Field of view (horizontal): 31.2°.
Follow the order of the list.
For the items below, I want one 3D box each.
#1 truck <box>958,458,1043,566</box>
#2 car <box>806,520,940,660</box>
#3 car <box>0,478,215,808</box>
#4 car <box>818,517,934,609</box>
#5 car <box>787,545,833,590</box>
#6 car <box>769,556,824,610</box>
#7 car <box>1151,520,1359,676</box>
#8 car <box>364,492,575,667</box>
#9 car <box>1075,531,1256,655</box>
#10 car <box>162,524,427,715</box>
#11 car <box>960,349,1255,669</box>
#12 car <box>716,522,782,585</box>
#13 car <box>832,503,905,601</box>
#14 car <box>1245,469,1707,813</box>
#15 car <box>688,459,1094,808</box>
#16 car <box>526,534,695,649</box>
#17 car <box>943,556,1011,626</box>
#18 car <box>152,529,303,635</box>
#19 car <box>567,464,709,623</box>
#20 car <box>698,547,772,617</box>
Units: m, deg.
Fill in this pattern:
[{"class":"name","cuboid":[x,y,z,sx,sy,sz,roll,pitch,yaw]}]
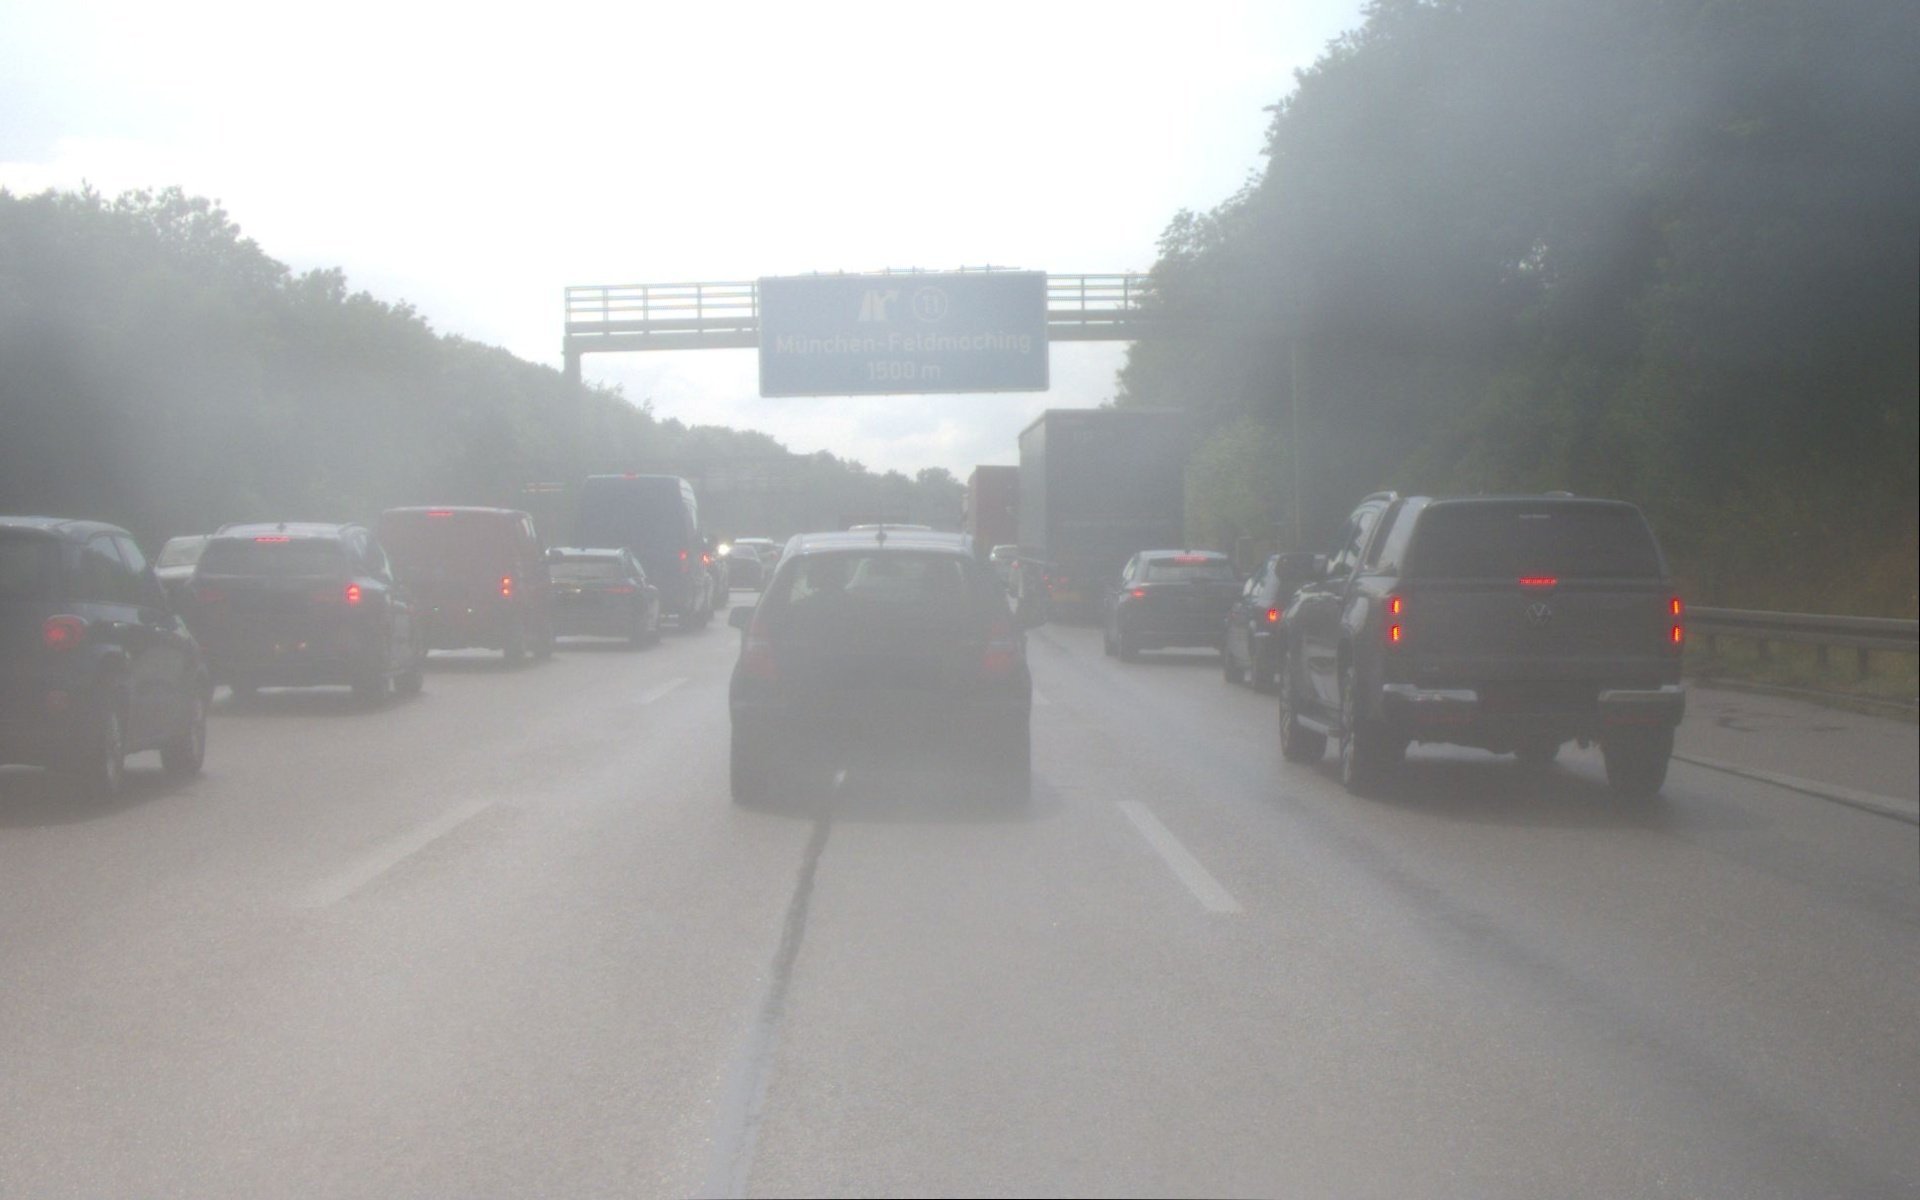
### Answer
[{"class":"truck","cuboid":[1.359,-2.998,119.280,2.775,3.619,5.917,1,1,-1]},{"class":"car","cuboid":[-1.215,-0.144,46.543,1.692,1.798,3.976,1,1,-3]},{"class":"car","cuboid":[-5.580,0.211,20.724,1.692,1.798,3.977,1,1,-6]},{"class":"car","cuboid":[-1.479,-0.640,59.185,1.864,1.511,3.976,1,1,-3]},{"class":"car","cuboid":[-7.165,-1.550,164.799,1.993,2.108,4.889,1,1,-1]},{"class":"car","cuboid":[-6.606,-0.700,139.357,1.993,2.108,4.889,1,1,-1]},{"class":"car","cuboid":[2.984,-0.038,35.485,1.590,1.511,3.976,1,1,-3]},{"class":"car","cuboid":[-6.054,-0.268,42.949,1.978,2.047,4.756,1,1,-1]},{"class":"car","cuboid":[2.604,-0.108,44.386,1.864,1.511,3.976,1,1,-3]},{"class":"car","cuboid":[-6.180,0.147,32.406,1.908,1.631,4.617,-1,1,-4]},{"class":"car","cuboid":[2.707,-1.749,71.470,4.403,5.810,16.820,1,1,-3]},{"class":"car","cuboid":[-7.179,-1.575,117.353,1.993,2.108,4.889,1,1,-1]},{"class":"car","cuboid":[-2.628,-1.381,99.780,1.993,2.737,5.260,1,1,-1]},{"class":"car","cuboid":[3.132,0.201,22.116,1.941,1.912,5.652,1,1,-2]},{"class":"car","cuboid":[-0.497,0.165,21.825,2.274,1.948,4.822,1,1,-3]},{"class":"car","cuboid":[-5.010,-0.140,49.830,1.993,1.559,4.756,1,1,-1]},{"class":"car","cuboid":[0.504,-0.295,106.291,1.993,2.108,4.889,1,1,-1]},{"class":"car","cuboid":[-14.670,-0.371,69.104,2.051,2.039,5.210,1,1,-2]},{"class":"car","cuboid":[-5.497,-0.955,59.260,1.993,2.606,5.260,1,1,-1]},{"class":"car","cuboid":[-6.965,-0.569,106.711,1.993,2.108,4.889,1,1,-1]}]
